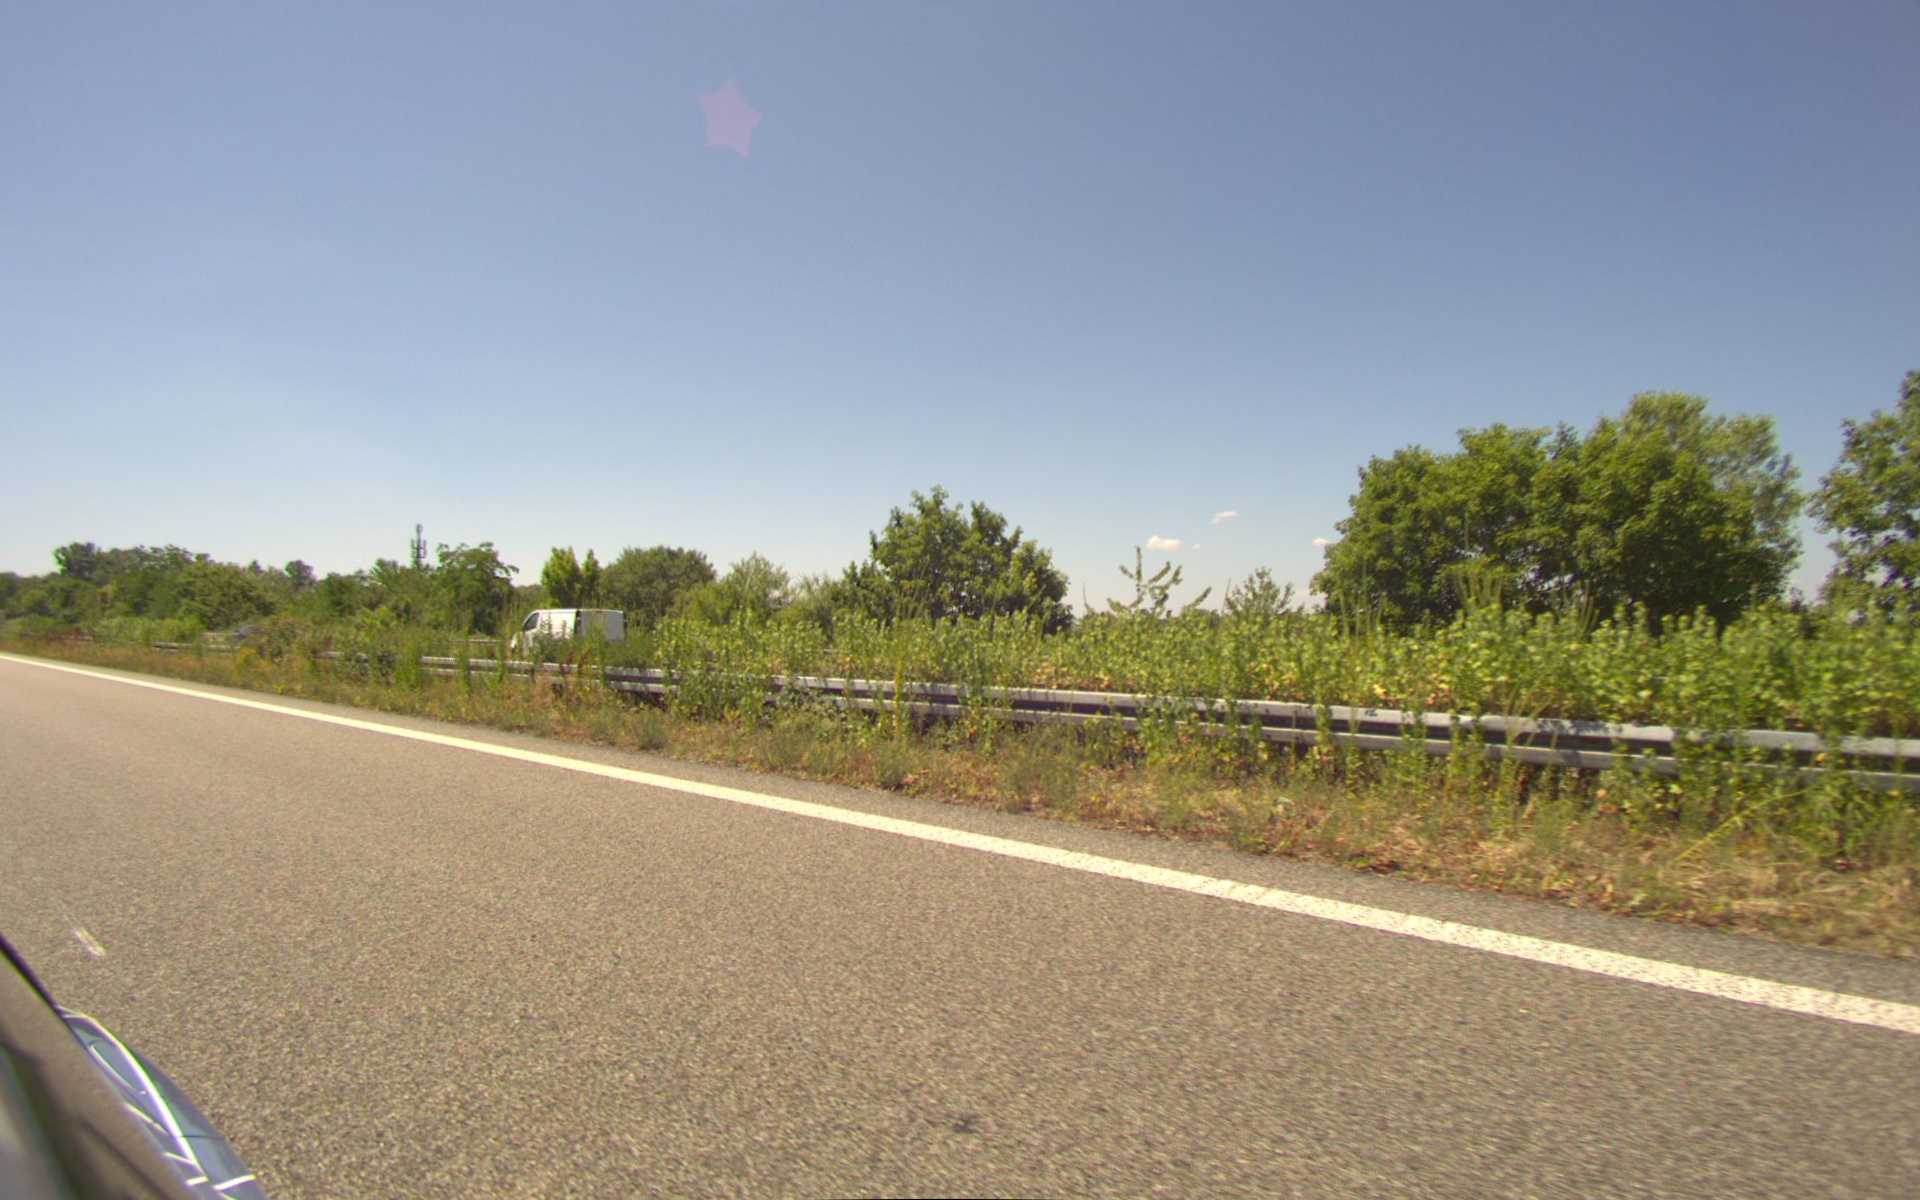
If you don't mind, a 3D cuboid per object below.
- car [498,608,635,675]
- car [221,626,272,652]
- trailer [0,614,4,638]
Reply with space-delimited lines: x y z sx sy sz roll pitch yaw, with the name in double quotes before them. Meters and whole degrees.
"car" -13.096 1.326 33.489 5.269 2.005 1.973 -1 -1 41
"car" -50.123 2.732 71.090 4.420 1.685 1.946 -1 -1 41
"trailer" -169.466 4.564 176.743 10.625 4.005 2.901 -2 -1 42
